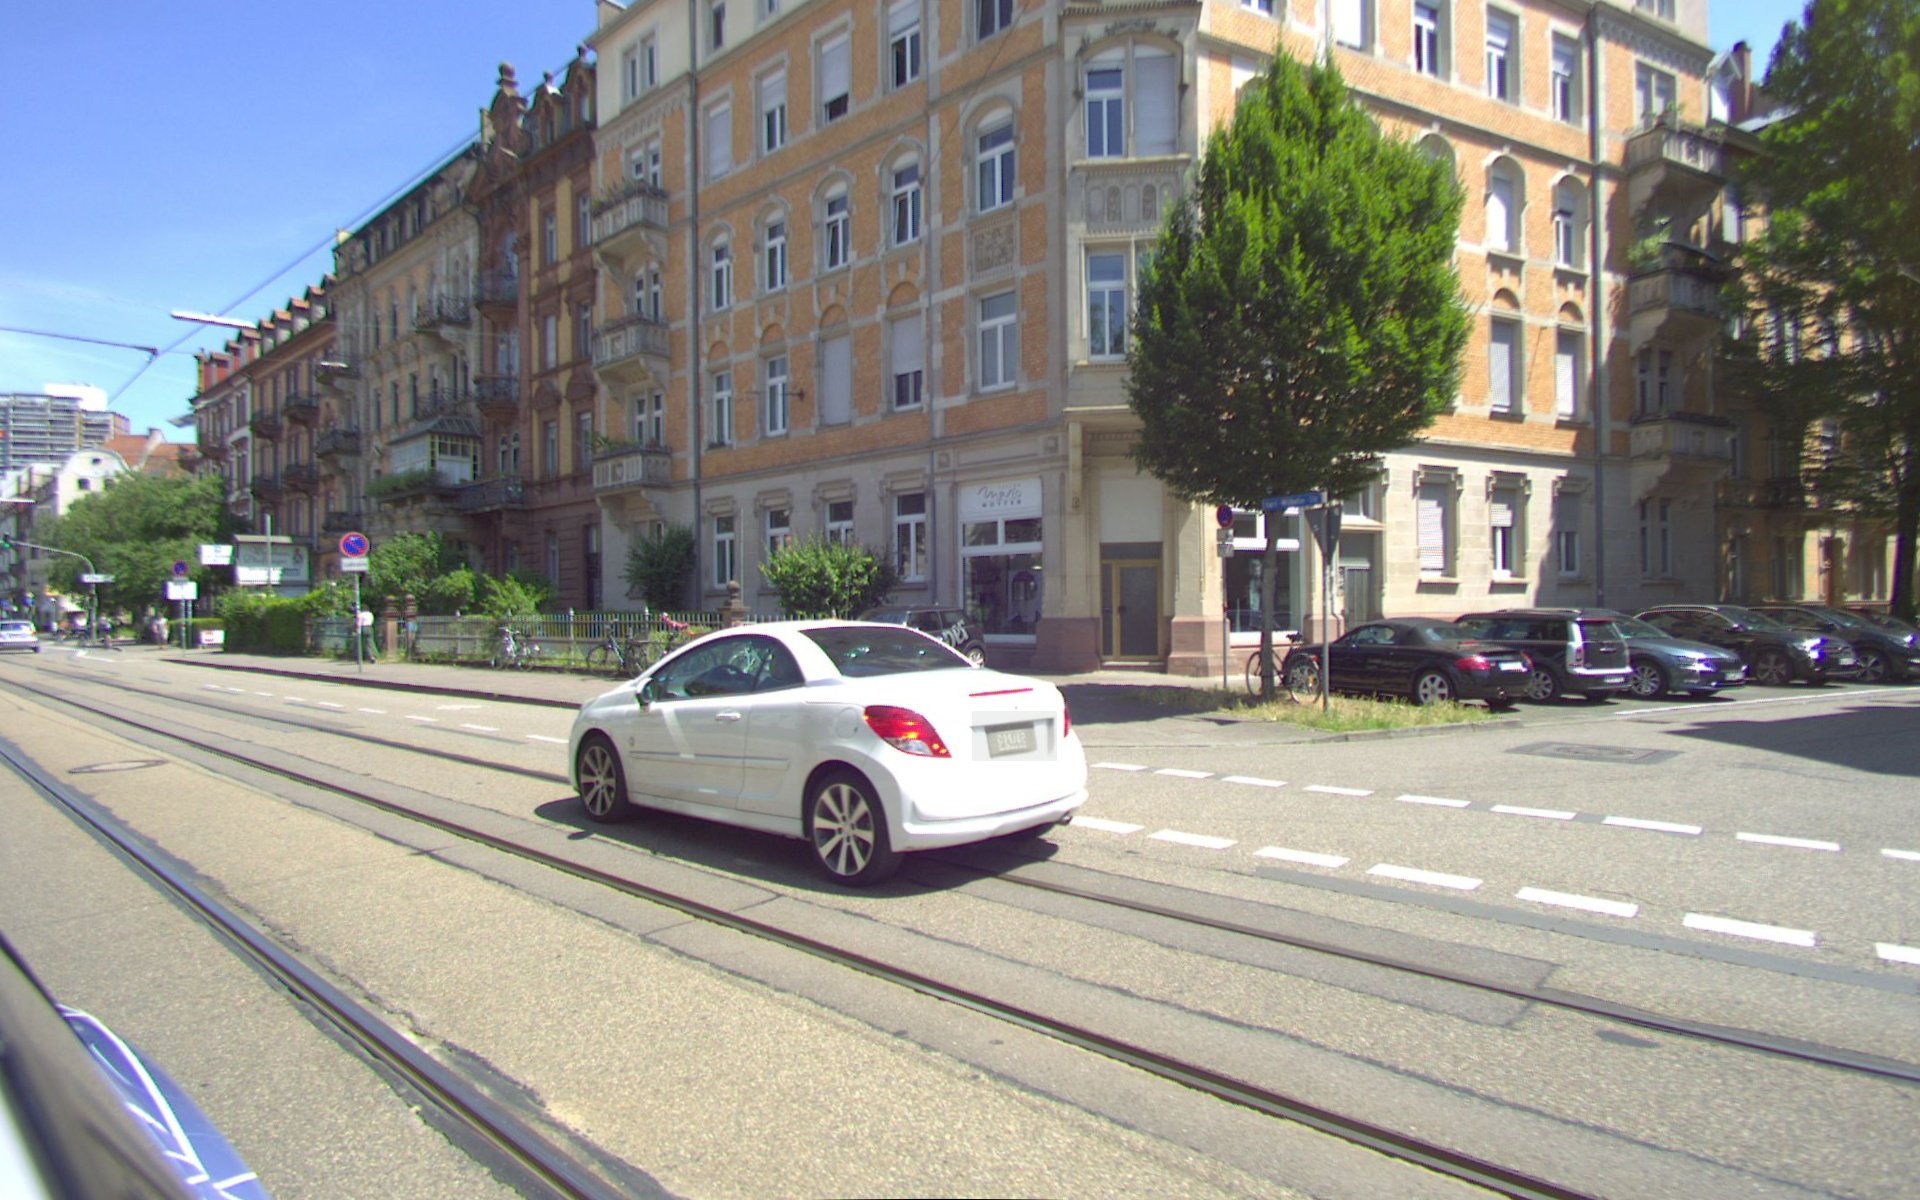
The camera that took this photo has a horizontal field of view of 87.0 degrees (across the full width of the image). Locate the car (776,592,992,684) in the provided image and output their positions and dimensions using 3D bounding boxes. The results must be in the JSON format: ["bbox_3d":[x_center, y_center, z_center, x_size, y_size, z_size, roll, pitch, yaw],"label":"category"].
[{"bbox_3d":[-1.277,0.593,18.161,1.713,1.439,3.720,0,1,42],"label":"car"}]

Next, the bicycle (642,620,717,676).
[{"bbox_3d":[-5.202,0.875,18.710,1.709,0.991,0.434,-2,0,40],"label":"bicycle"}]

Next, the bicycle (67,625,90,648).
[{"bbox_3d":[-42.180,1.752,48.418,1.889,1.086,0.575,-1,-2,41],"label":"bicycle"}]

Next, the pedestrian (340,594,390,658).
[{"bbox_3d":[-16.942,0.721,28.805,1.138,1.735,0.842,-1,2,42],"label":"pedestrian"}]

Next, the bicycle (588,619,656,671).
[{"bbox_3d":[-6.719,0.885,20.076,1.709,0.991,0.434,-2,0,40],"label":"bicycle"}]

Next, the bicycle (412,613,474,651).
[{"bbox_3d":[-14.784,0.901,28.959,0.495,1.051,1.493,-2,-1,42],"label":"bicycle"}]

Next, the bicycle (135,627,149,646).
[{"bbox_3d":[-46.274,2.062,57.251,1.565,1.064,0.454,-1,-1,45],"label":"bicycle"}]

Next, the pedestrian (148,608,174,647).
[{"bbox_3d":[-36.251,1.235,45.905,0.861,1.713,1.014,-1,-1,-43],"label":"pedestrian"}]

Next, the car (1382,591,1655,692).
[{"bbox_3d":[9.329,0.603,17.212,1.603,1.450,3.784,0,1,-28],"label":"car"}]

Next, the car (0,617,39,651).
[{"bbox_3d":[-43.074,1.544,45.816,3.999,1.460,1.666,-2,-1,42],"label":"car"}]

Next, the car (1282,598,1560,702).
[{"bbox_3d":[7.093,0.683,15.961,1.603,1.349,3.784,0,1,-28],"label":"car"}]

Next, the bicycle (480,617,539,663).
[{"bbox_3d":[-10.505,0.929,23.558,1.709,0.994,0.491,-2,3,40],"label":"bicycle"}]

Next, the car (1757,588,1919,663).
[{"bbox_3d":[20.582,0.528,22.801,1.603,1.552,3.784,0,1,-28],"label":"car"}]

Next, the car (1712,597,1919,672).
[{"bbox_3d":[18.263,0.655,21.118,1.603,1.349,3.784,0,1,-28],"label":"car"}]

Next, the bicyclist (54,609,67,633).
[{"bbox_3d":[-57.873,1.369,65.116,0.891,1.527,0.556,-2,-1,42],"label":"bicyclist"}]

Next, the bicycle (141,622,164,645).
[{"bbox_3d":[-41.155,1.702,51.567,1.932,1.101,0.631,-1,1,45],"label":"bicycle"}]

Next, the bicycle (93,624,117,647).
[{"bbox_3d":[-41.630,1.724,49.281,1.874,1.086,0.622,-1,-2,41],"label":"bicycle"}]

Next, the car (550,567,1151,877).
[{"bbox_3d":[-0.932,0.594,6.684,3.999,1.435,1.737,-1,-1,42],"label":"car"}]

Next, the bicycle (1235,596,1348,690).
[{"bbox_3d":[4.750,0.576,14.625,0.493,1.237,1.856,0,1,-21],"label":"bicycle"}]

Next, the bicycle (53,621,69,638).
[{"bbox_3d":[-57.850,1.880,65.104,1.828,1.046,0.561,-1,-1,42],"label":"bicycle"}]

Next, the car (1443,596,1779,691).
[{"bbox_3d":[11.423,0.670,18.194,1.716,1.375,4.841,0,1,-28],"label":"car"}]

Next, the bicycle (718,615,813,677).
[{"bbox_3d":[-3.542,0.825,18.518,1.685,1.044,0.551,-1,0,-45],"label":"bicycle"}]

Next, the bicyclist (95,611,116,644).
[{"bbox_3d":[-41.598,1.325,49.264,1.028,1.596,0.627,-2,-2,41],"label":"bicyclist"}]

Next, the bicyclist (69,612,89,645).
[{"bbox_3d":[-42.166,1.372,48.421,0.951,1.556,0.586,-2,-2,41],"label":"bicyclist"}]

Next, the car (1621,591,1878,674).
[{"bbox_3d":[15.859,0.582,20.540,1.603,1.453,3.784,0,1,-28],"label":"car"}]
